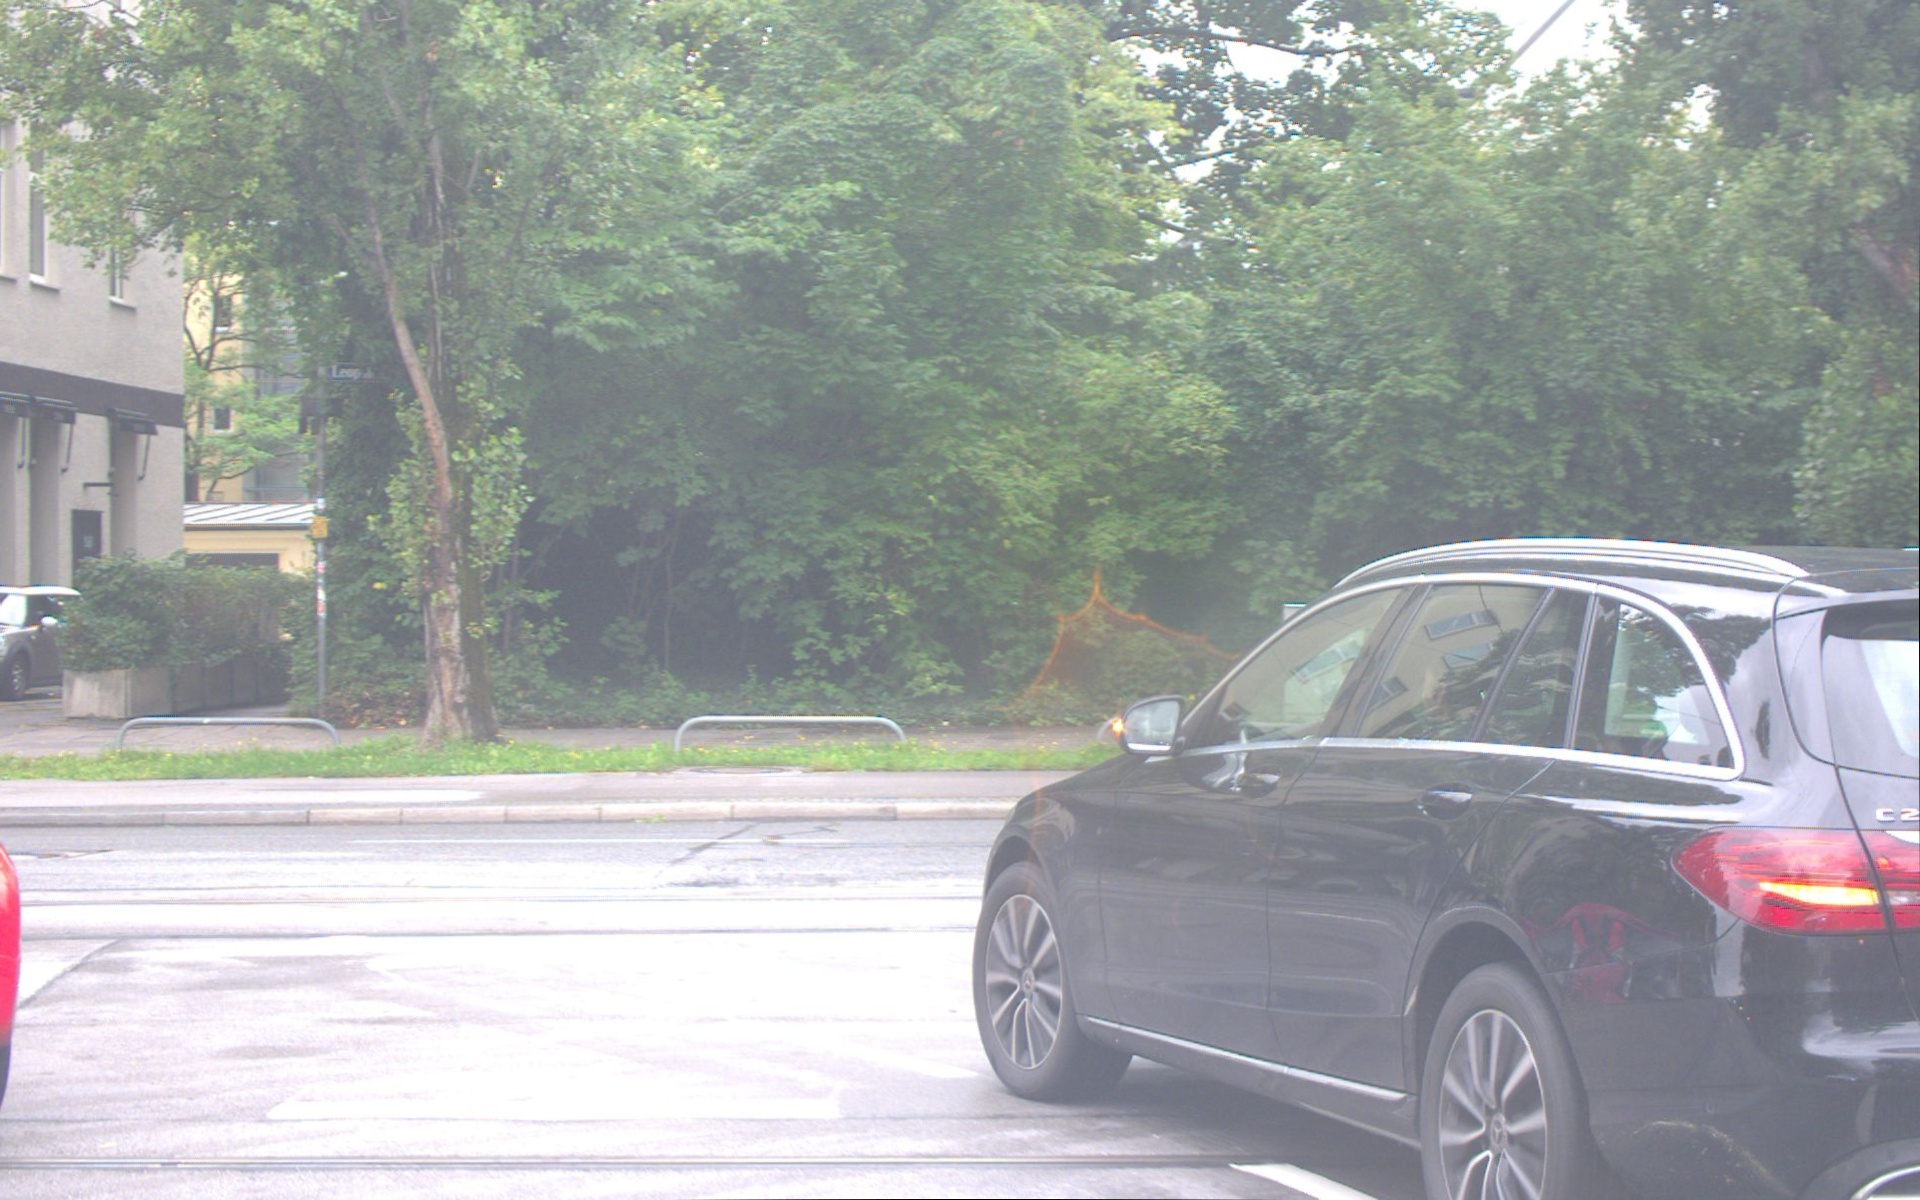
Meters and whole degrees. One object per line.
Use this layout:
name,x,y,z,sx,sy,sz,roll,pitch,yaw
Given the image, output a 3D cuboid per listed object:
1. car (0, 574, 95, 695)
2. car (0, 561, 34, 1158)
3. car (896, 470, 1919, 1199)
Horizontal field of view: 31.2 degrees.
car,-12.231,0.406,43.194,1.725,1.437,4.000,0,1,0
car,-3.845,0.616,9.259,1.629,1.435,3.376,-1,1,-33
car,1.409,0.530,8.012,1.863,1.544,4.705,0,1,-17
